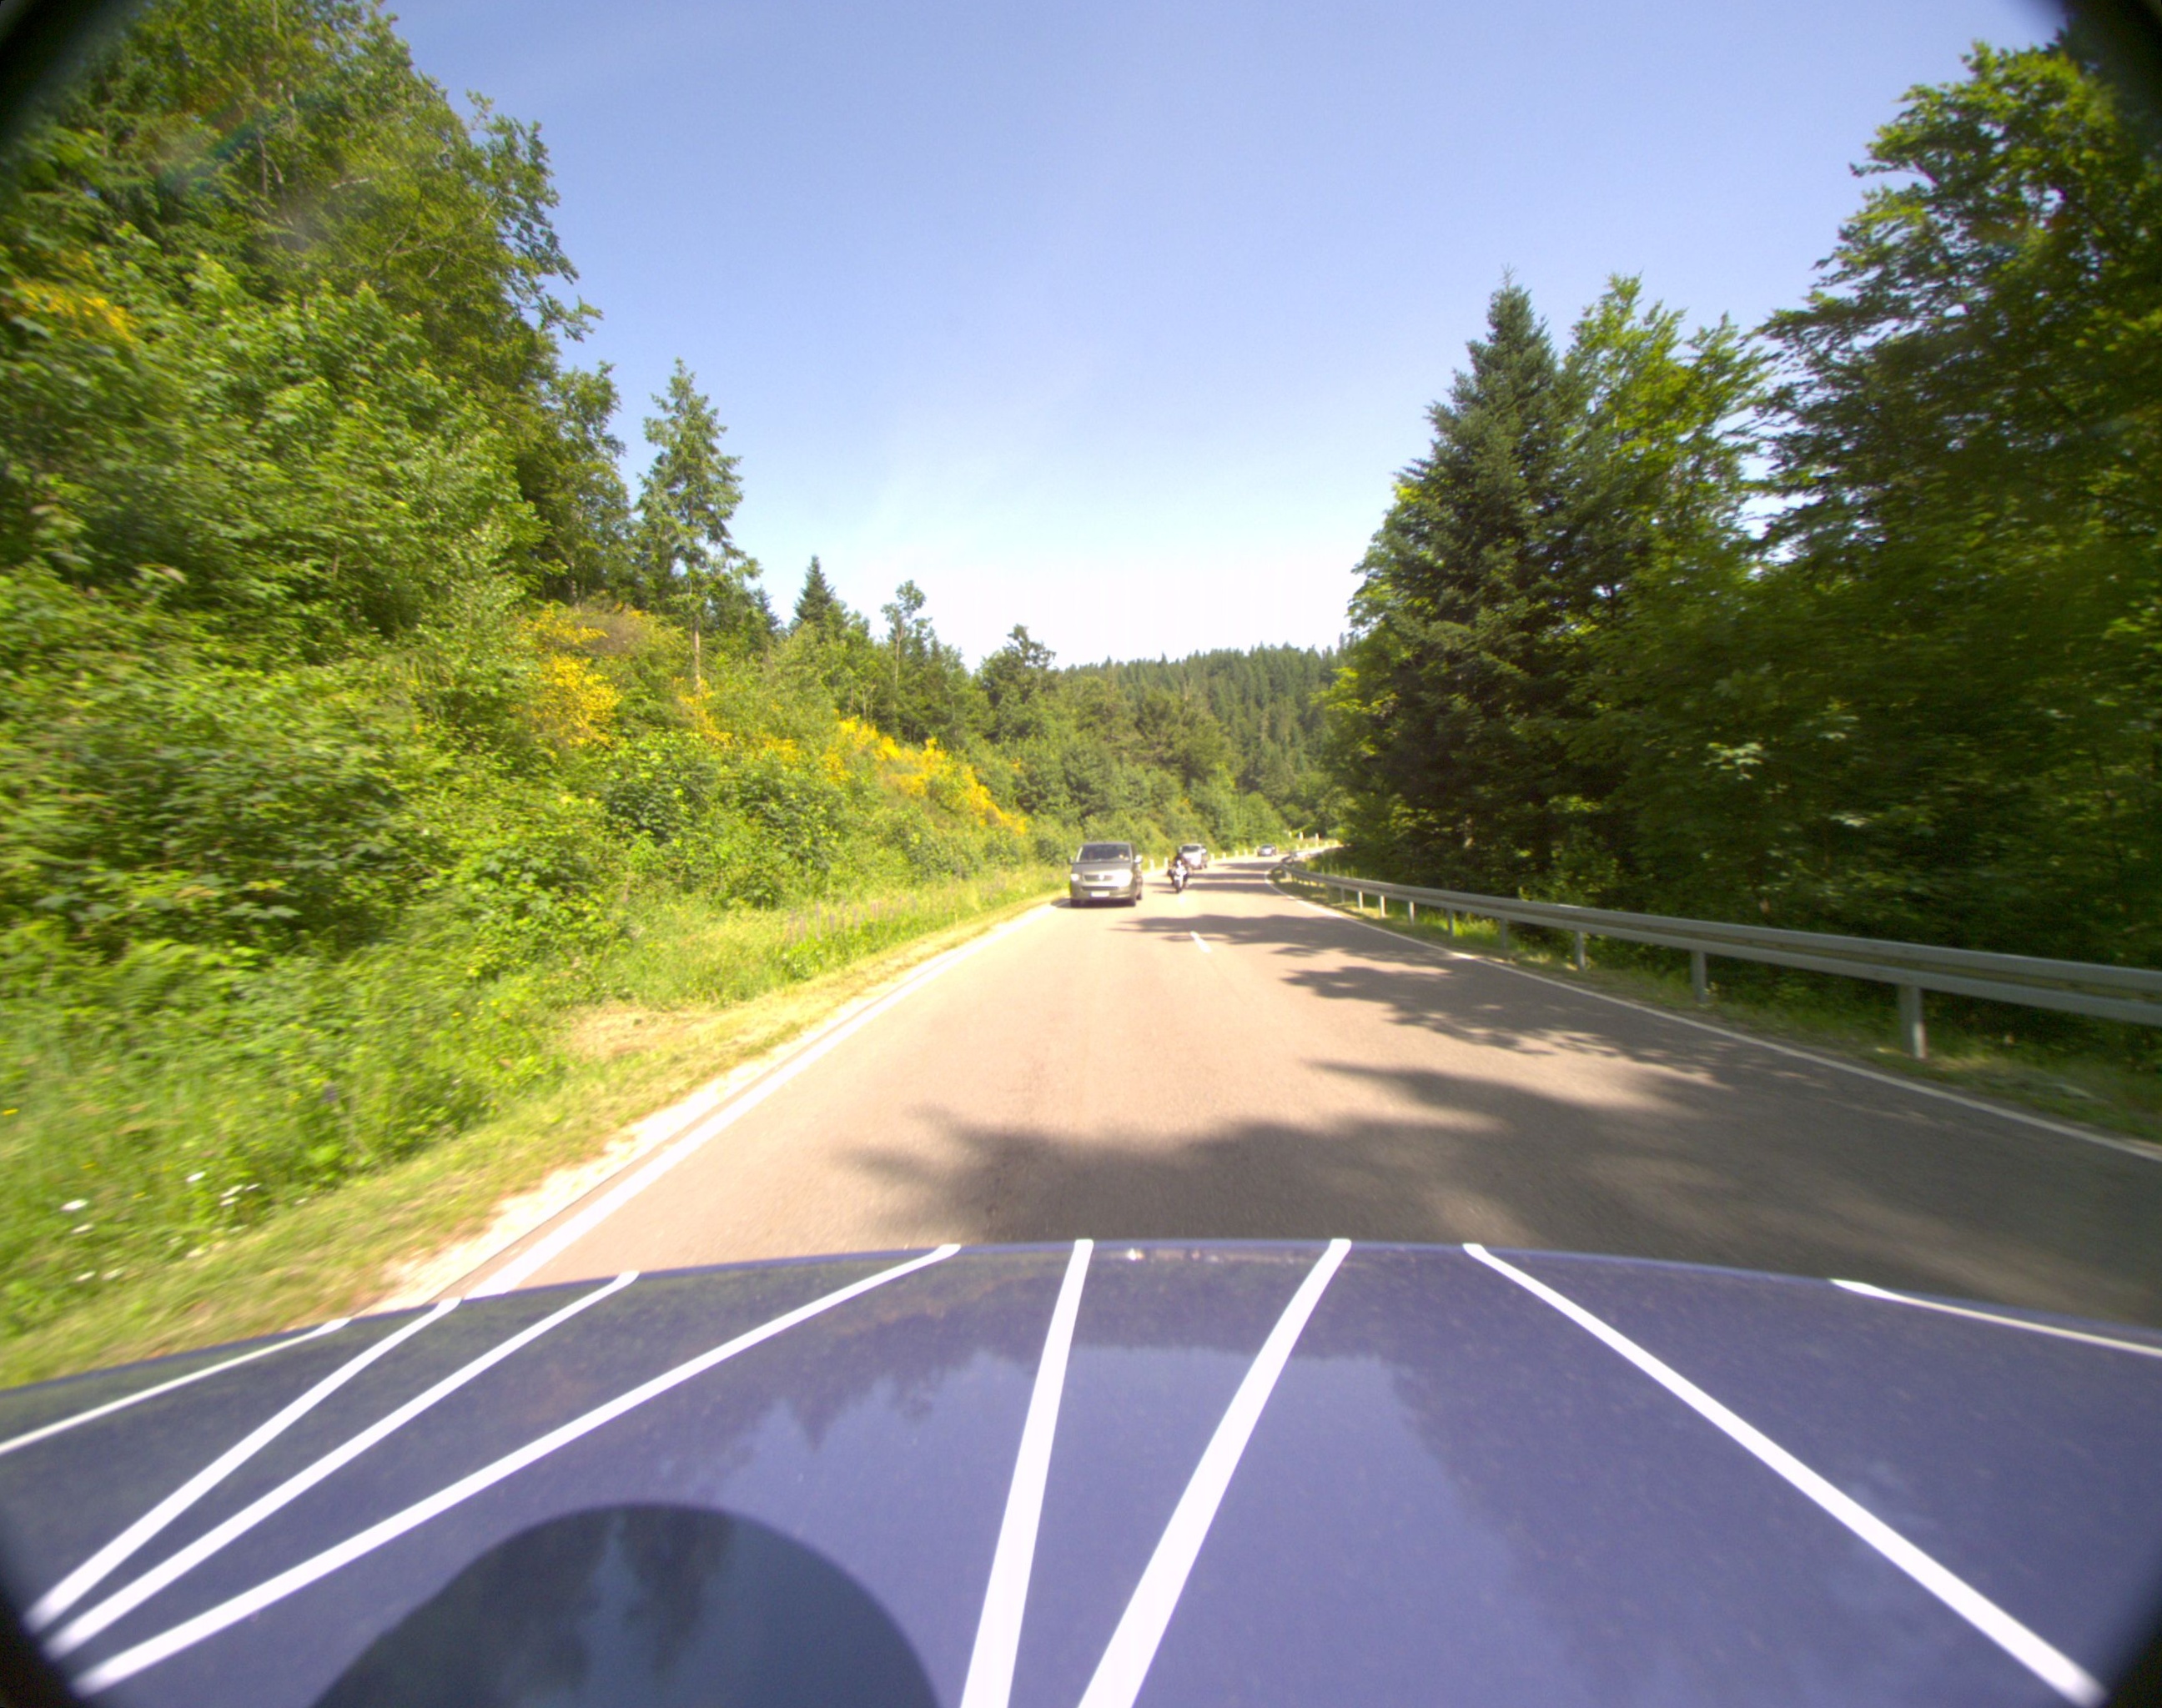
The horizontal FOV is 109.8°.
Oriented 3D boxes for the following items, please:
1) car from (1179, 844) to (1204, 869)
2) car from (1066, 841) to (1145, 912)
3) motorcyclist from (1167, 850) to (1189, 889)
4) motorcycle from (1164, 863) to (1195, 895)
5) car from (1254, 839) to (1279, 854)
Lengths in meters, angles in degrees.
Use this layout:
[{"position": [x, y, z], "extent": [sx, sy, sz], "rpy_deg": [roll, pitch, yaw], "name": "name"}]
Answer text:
[{"position": [8.261, 0.134, 56.423], "extent": [1.651, 1.749, 3.797], "rpy_deg": [-1, 1, 11], "name": "car"}, {"position": [0.873, 0.607, 23.357], "extent": [2.028, 1.940, 4.901], "rpy_deg": [-1, 0, 6], "name": "car"}, {"position": [3.659, 0.567, 28.508], "extent": [0.716, 1.422, 1.000], "rpy_deg": [-3, 1, 9], "name": "motorcyclist"}, {"position": [3.724, 0.919, 28.547], "extent": [1.109, 1.117, 1.962], "rpy_deg": [-1, 1, 9], "name": "motorcycle"}, {"position": [22.195, -0.890, 90.767], "extent": [1.995, 1.634, 4.006], "rpy_deg": [-1, 2, 26], "name": "car"}]
